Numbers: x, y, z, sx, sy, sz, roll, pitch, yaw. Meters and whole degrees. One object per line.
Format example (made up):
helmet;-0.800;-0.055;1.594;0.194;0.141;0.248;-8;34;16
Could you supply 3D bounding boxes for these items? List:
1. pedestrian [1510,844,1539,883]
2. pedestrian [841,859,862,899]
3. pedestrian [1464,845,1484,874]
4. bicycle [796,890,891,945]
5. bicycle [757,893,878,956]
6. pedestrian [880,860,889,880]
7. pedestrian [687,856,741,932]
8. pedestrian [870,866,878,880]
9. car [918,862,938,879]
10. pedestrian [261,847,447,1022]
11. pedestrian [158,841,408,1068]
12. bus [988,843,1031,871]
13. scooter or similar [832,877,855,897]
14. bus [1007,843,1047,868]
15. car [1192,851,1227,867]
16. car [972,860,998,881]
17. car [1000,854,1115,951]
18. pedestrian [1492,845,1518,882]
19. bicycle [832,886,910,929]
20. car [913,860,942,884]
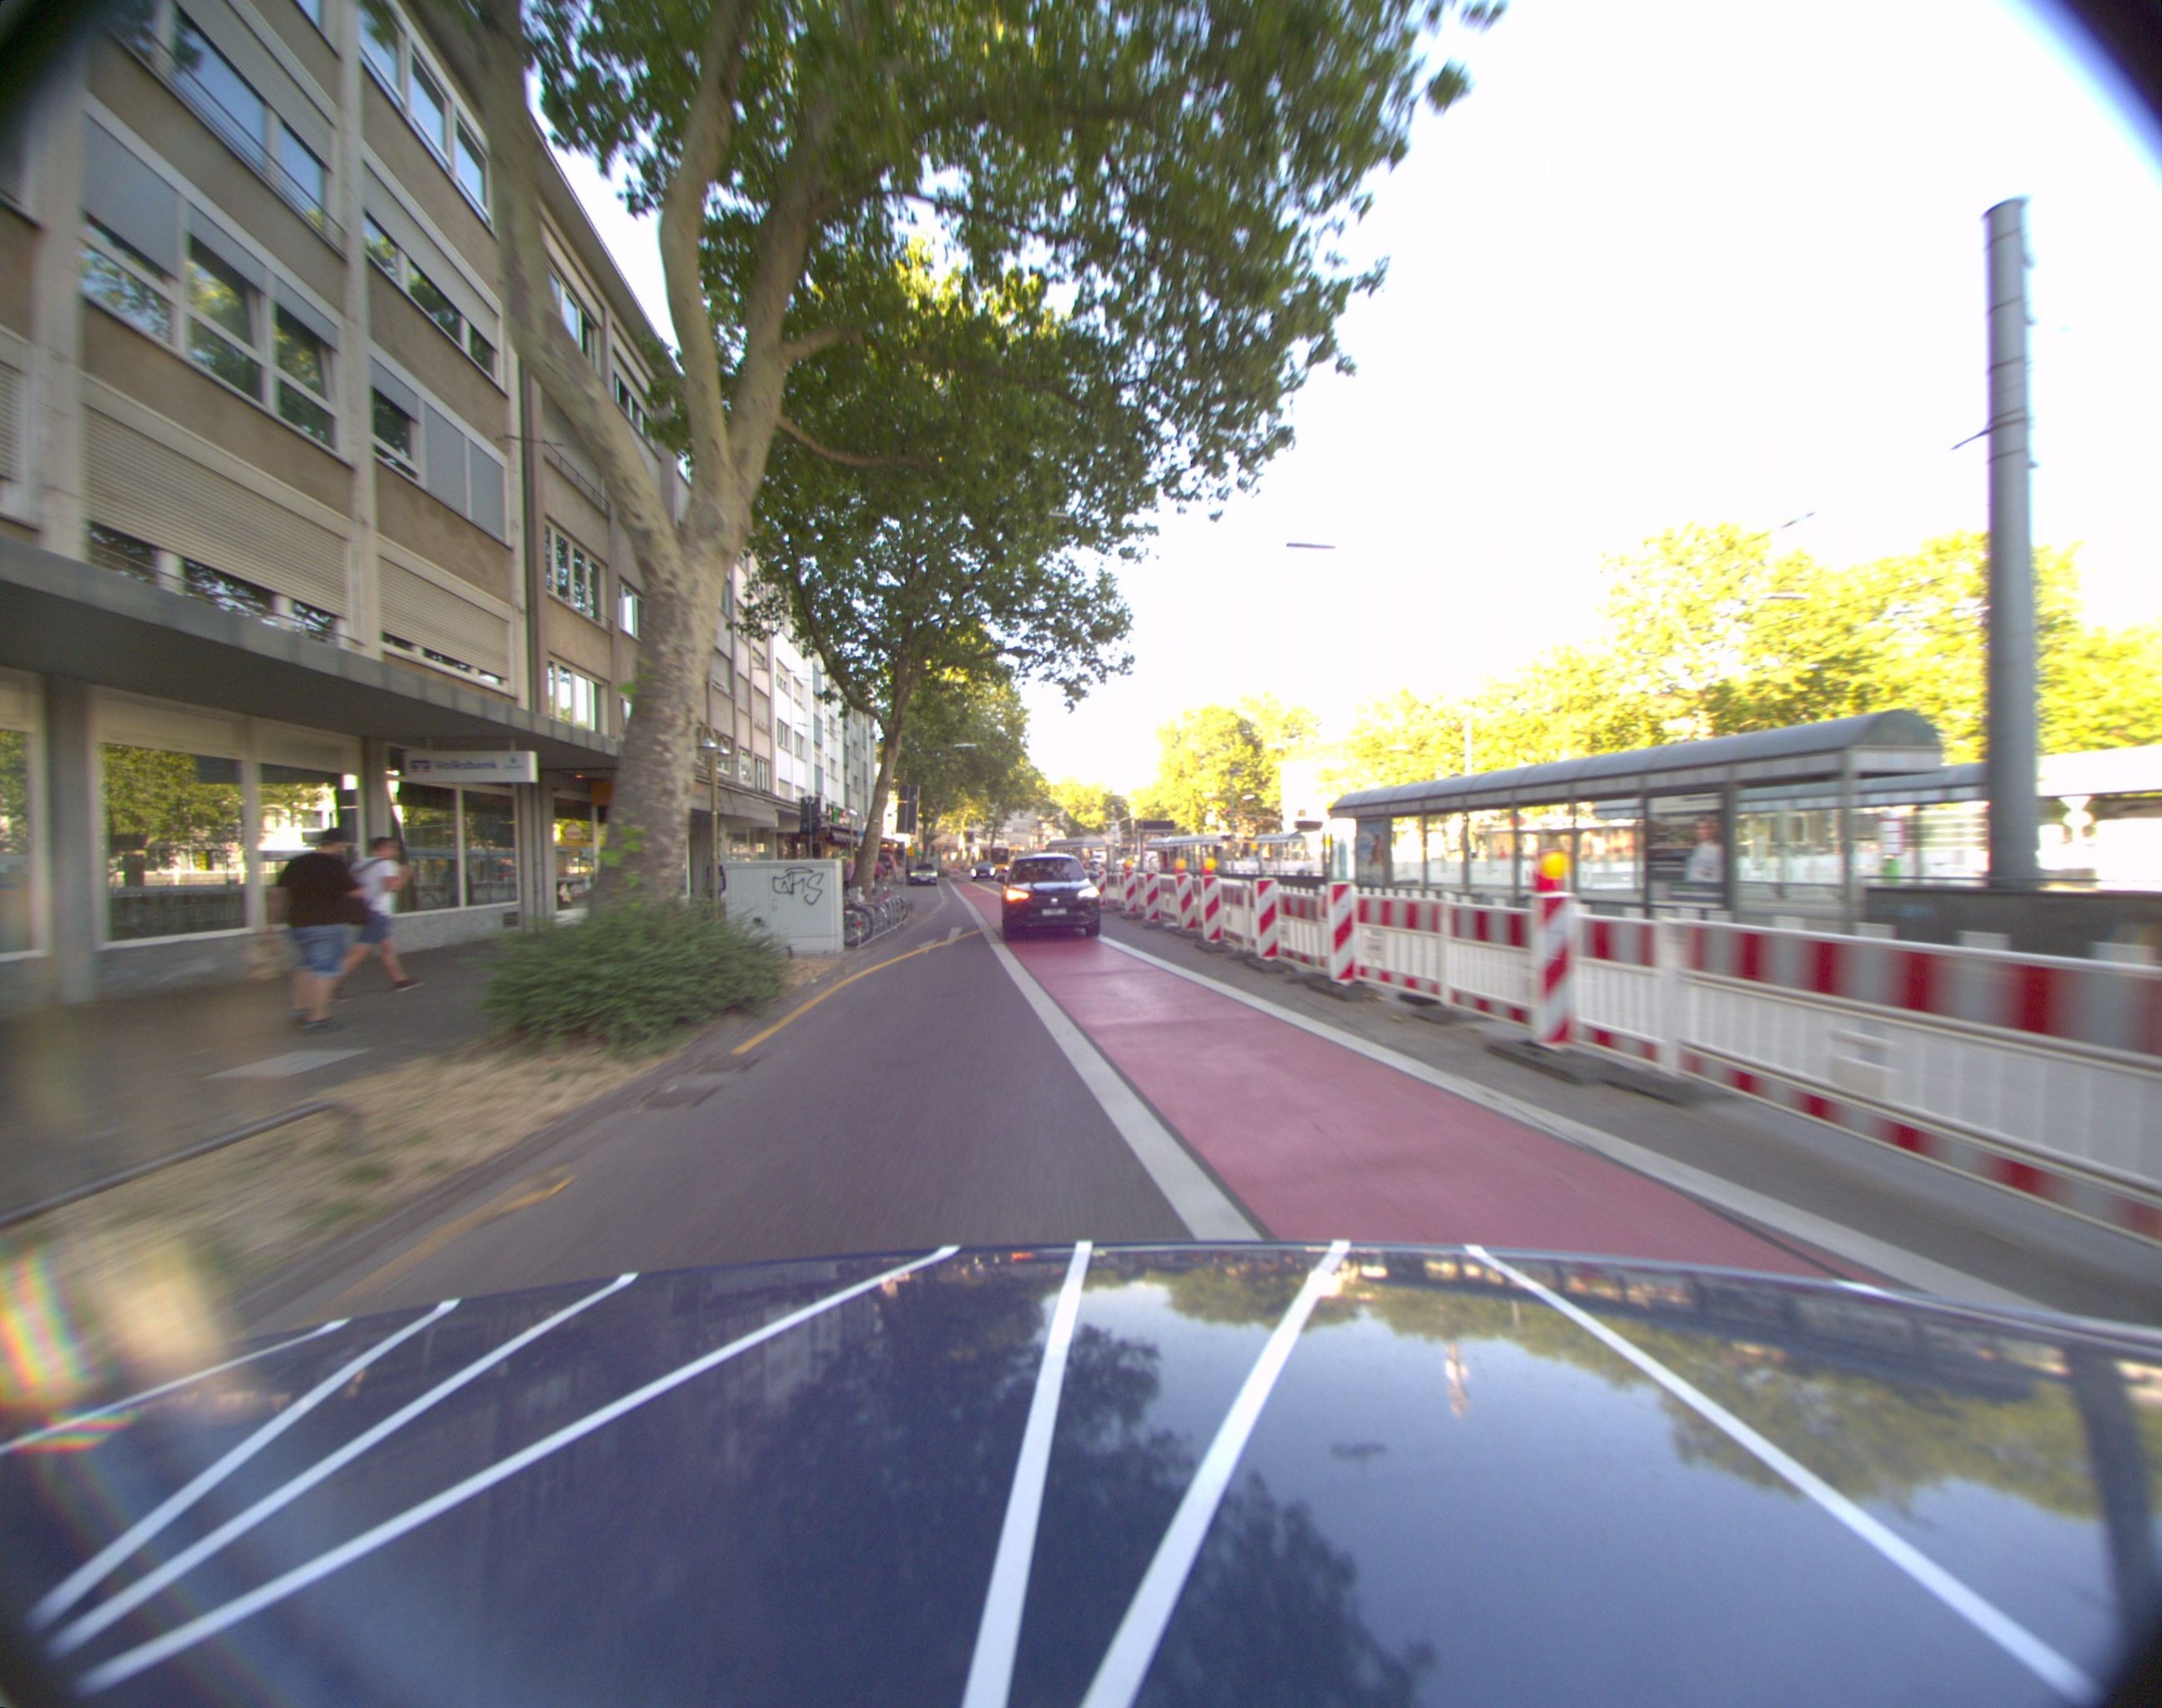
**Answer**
pedestrian;23.013;0.492;39.432;0.887;2.002;0.883;-1;0;-7
pedestrian;-9.695;1.049;32.129;0.649;1.663;0.554;-2;1;-39
pedestrian;27.865;0.394;53.883;0.884;2.002;0.886;-1;0;-18
bicycle;-4.739;1.264;15.258;1.719;1.052;0.643;0;0;-7
bicycle;-4.749;1.261;13.818;1.994;1.052;0.770;0;0;-12
pedestrian;-15.424;1.276;59.625;0.584;1.551;0.641;1;0;-7
pedestrian;-8.323;0.881;17.273;0.846;1.663;0.989;0;0;-9
pedestrian;-16.686;1.503;61.215;0.520;1.127;0.507;0;0;-31
car;-13.874;1.476;68.917;1.661;1.470;3.798;0;0;-9
pedestrian;-7.534;0.794;7.956;0.902;1.687;1.070;3;0;-9
pedestrian;-6.517;0.776;6.297;0.902;1.700;1.070;3;0;-9
bus;-8.763;0.336;94.976;2.736;3.188;12.313;-3;0;7
scooter or similar;-10.219;1.421;32.662;0.731;0.839;0.578;-1;0;35
bus;-7.320;0.227;105.618;2.736;3.188;12.370;-3;0;9
car;12.951;0.555;76.802;1.685;1.565;3.383;-2;0;-33
car;-8.092;1.390;63.585;2.000;1.575;4.616;-2;-1;-8
car;-0.630;0.873;15.711;1.999;1.637;4.202;-2;0;-6
pedestrian;23.347;0.507;41.829;0.887;2.002;0.883;-1;0;-7
bicycle;-5.147;1.301;18.725;1.795;1.016;0.643;0;0;-12
car;-10.967;1.248;54.053;1.925;1.588;4.786;0;0;-12
